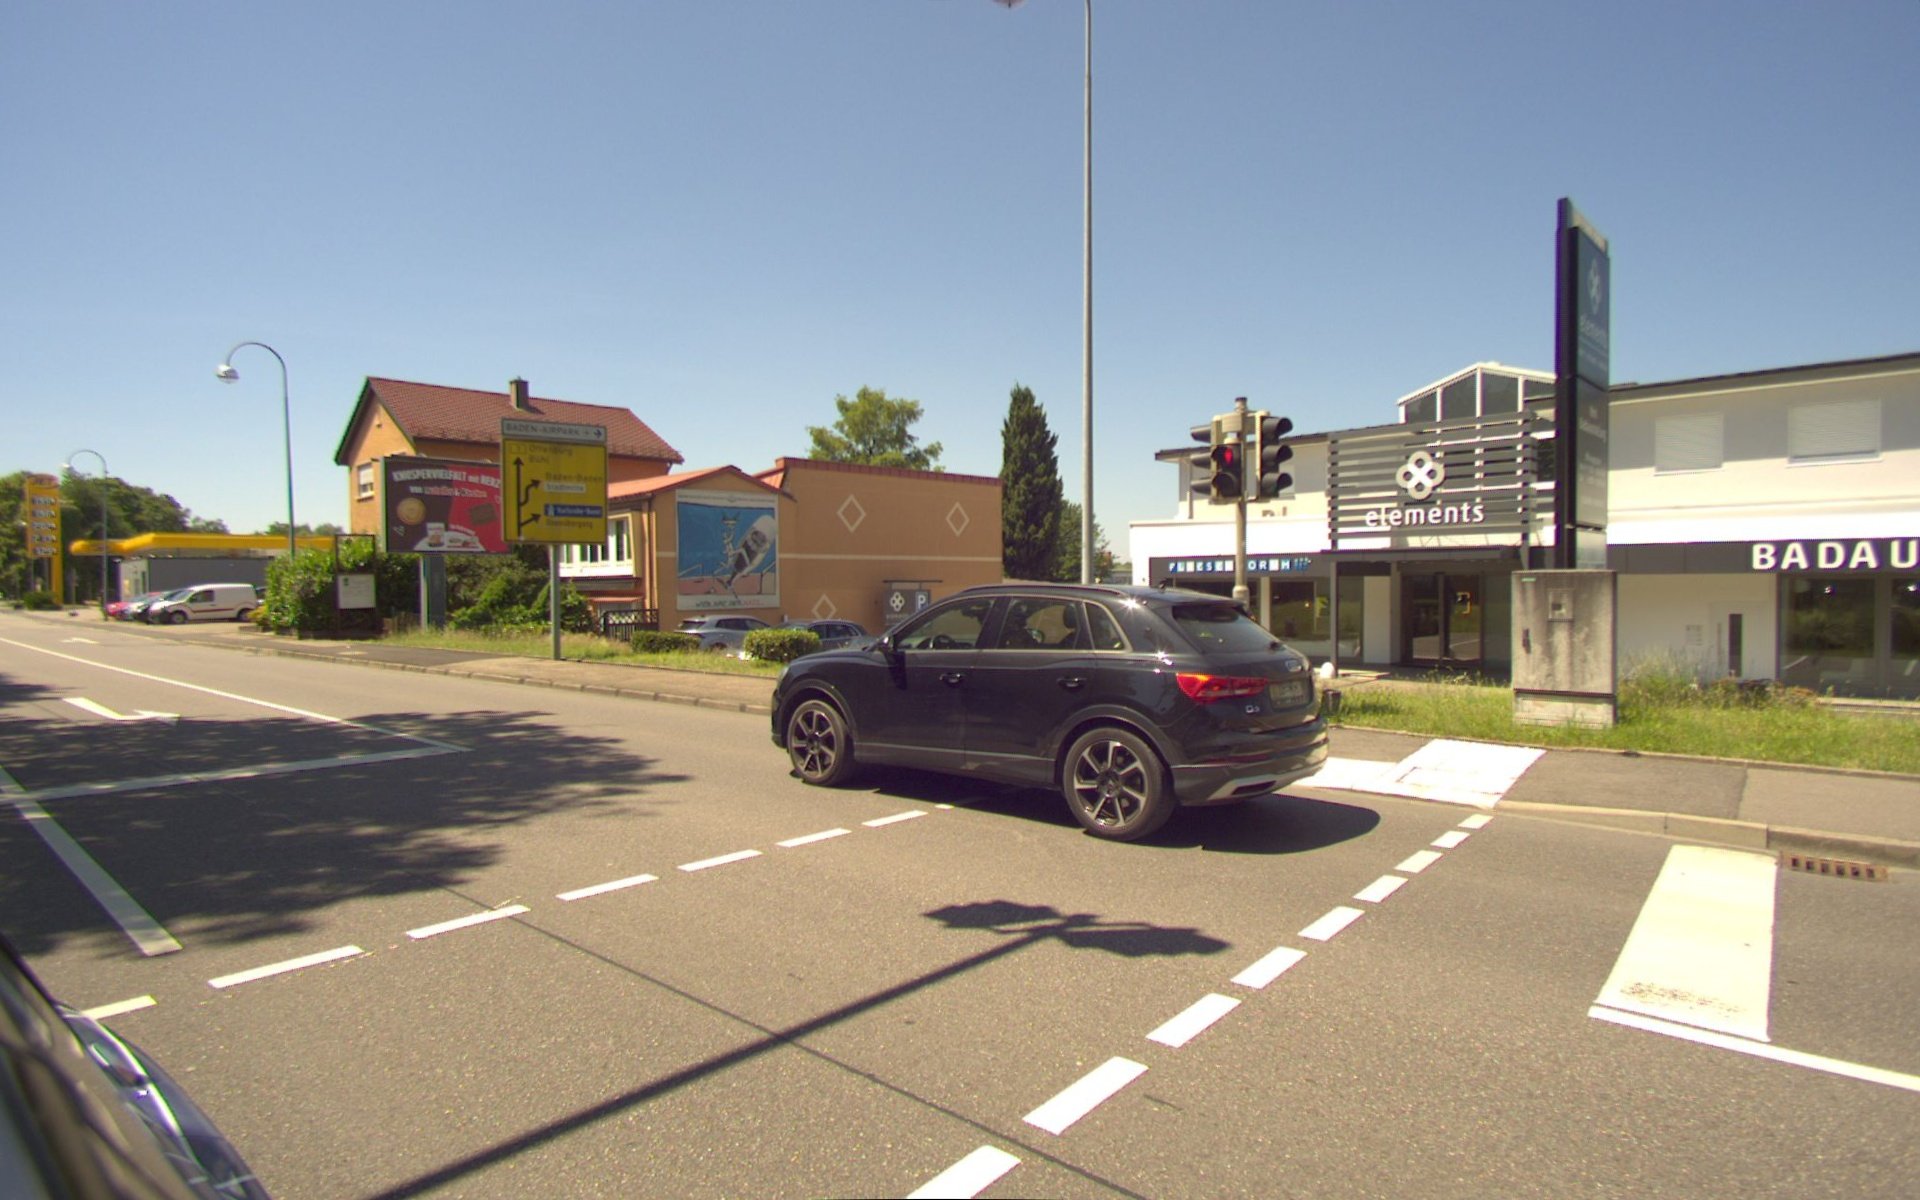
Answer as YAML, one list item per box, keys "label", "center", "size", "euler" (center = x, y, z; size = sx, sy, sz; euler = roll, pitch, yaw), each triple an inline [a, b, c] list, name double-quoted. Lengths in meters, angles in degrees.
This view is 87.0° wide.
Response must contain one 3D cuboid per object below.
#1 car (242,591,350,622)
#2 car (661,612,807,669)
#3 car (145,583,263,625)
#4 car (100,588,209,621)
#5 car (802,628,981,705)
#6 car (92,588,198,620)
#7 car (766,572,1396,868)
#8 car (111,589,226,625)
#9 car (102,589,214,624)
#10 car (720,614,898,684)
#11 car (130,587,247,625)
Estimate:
- label: "car"
  center: [-34.406, 0.319, 52.556]
  size: [1.872, 1.575, 4.349]
  euler: [0, 0, 36]
- label: "car"
  center: [-7.074, 1.215, 31.930]
  size: [4.164, 1.621, 1.774]
  euler: [0, 0, -41]
- label: "car"
  center: [-35.761, 0.162, 47.948]
  size: [1.872, 1.883, 4.141]
  euler: [0, 0, 36]
- label: "car"
  center: [-44.081, 0.233, 55.457]
  size: [1.872, 1.773, 4.349]
  euler: [0, 0, 36]
- label: "car"
  center: [-1.564, 1.497, 23.991]
  size: [4.037, 1.544, 1.773]
  euler: [0, 0, -42]
- label: "car"
  center: [-45.874, 0.209, 57.058]
  size: [1.872, 1.773, 4.349]
  euler: [0, 0, 36]
- label: "car"
  center: [0.693, 0.629, 7.473]
  size: [4.299, 1.567, 1.907]
  euler: [0, 0, 40]
- label: "car"
  center: [-40.816, 0.323, 52.252]
  size: [1.872, 1.773, 4.349]
  euler: [0, 0, 36]
- label: "car"
  center: [-42.460, 0.306, 53.636]
  size: [1.872, 1.773, 4.349]
  euler: [0, 0, 36]
- label: "car"
  center: [-3.950, 1.241, 26.980]
  size: [4.460, 1.654, 1.773]
  euler: [0, 0, -42]
- label: "car"
  center: [-37.484, 0.291, 49.262]
  size: [1.872, 1.773, 4.195]
  euler: [0, 0, 36]
